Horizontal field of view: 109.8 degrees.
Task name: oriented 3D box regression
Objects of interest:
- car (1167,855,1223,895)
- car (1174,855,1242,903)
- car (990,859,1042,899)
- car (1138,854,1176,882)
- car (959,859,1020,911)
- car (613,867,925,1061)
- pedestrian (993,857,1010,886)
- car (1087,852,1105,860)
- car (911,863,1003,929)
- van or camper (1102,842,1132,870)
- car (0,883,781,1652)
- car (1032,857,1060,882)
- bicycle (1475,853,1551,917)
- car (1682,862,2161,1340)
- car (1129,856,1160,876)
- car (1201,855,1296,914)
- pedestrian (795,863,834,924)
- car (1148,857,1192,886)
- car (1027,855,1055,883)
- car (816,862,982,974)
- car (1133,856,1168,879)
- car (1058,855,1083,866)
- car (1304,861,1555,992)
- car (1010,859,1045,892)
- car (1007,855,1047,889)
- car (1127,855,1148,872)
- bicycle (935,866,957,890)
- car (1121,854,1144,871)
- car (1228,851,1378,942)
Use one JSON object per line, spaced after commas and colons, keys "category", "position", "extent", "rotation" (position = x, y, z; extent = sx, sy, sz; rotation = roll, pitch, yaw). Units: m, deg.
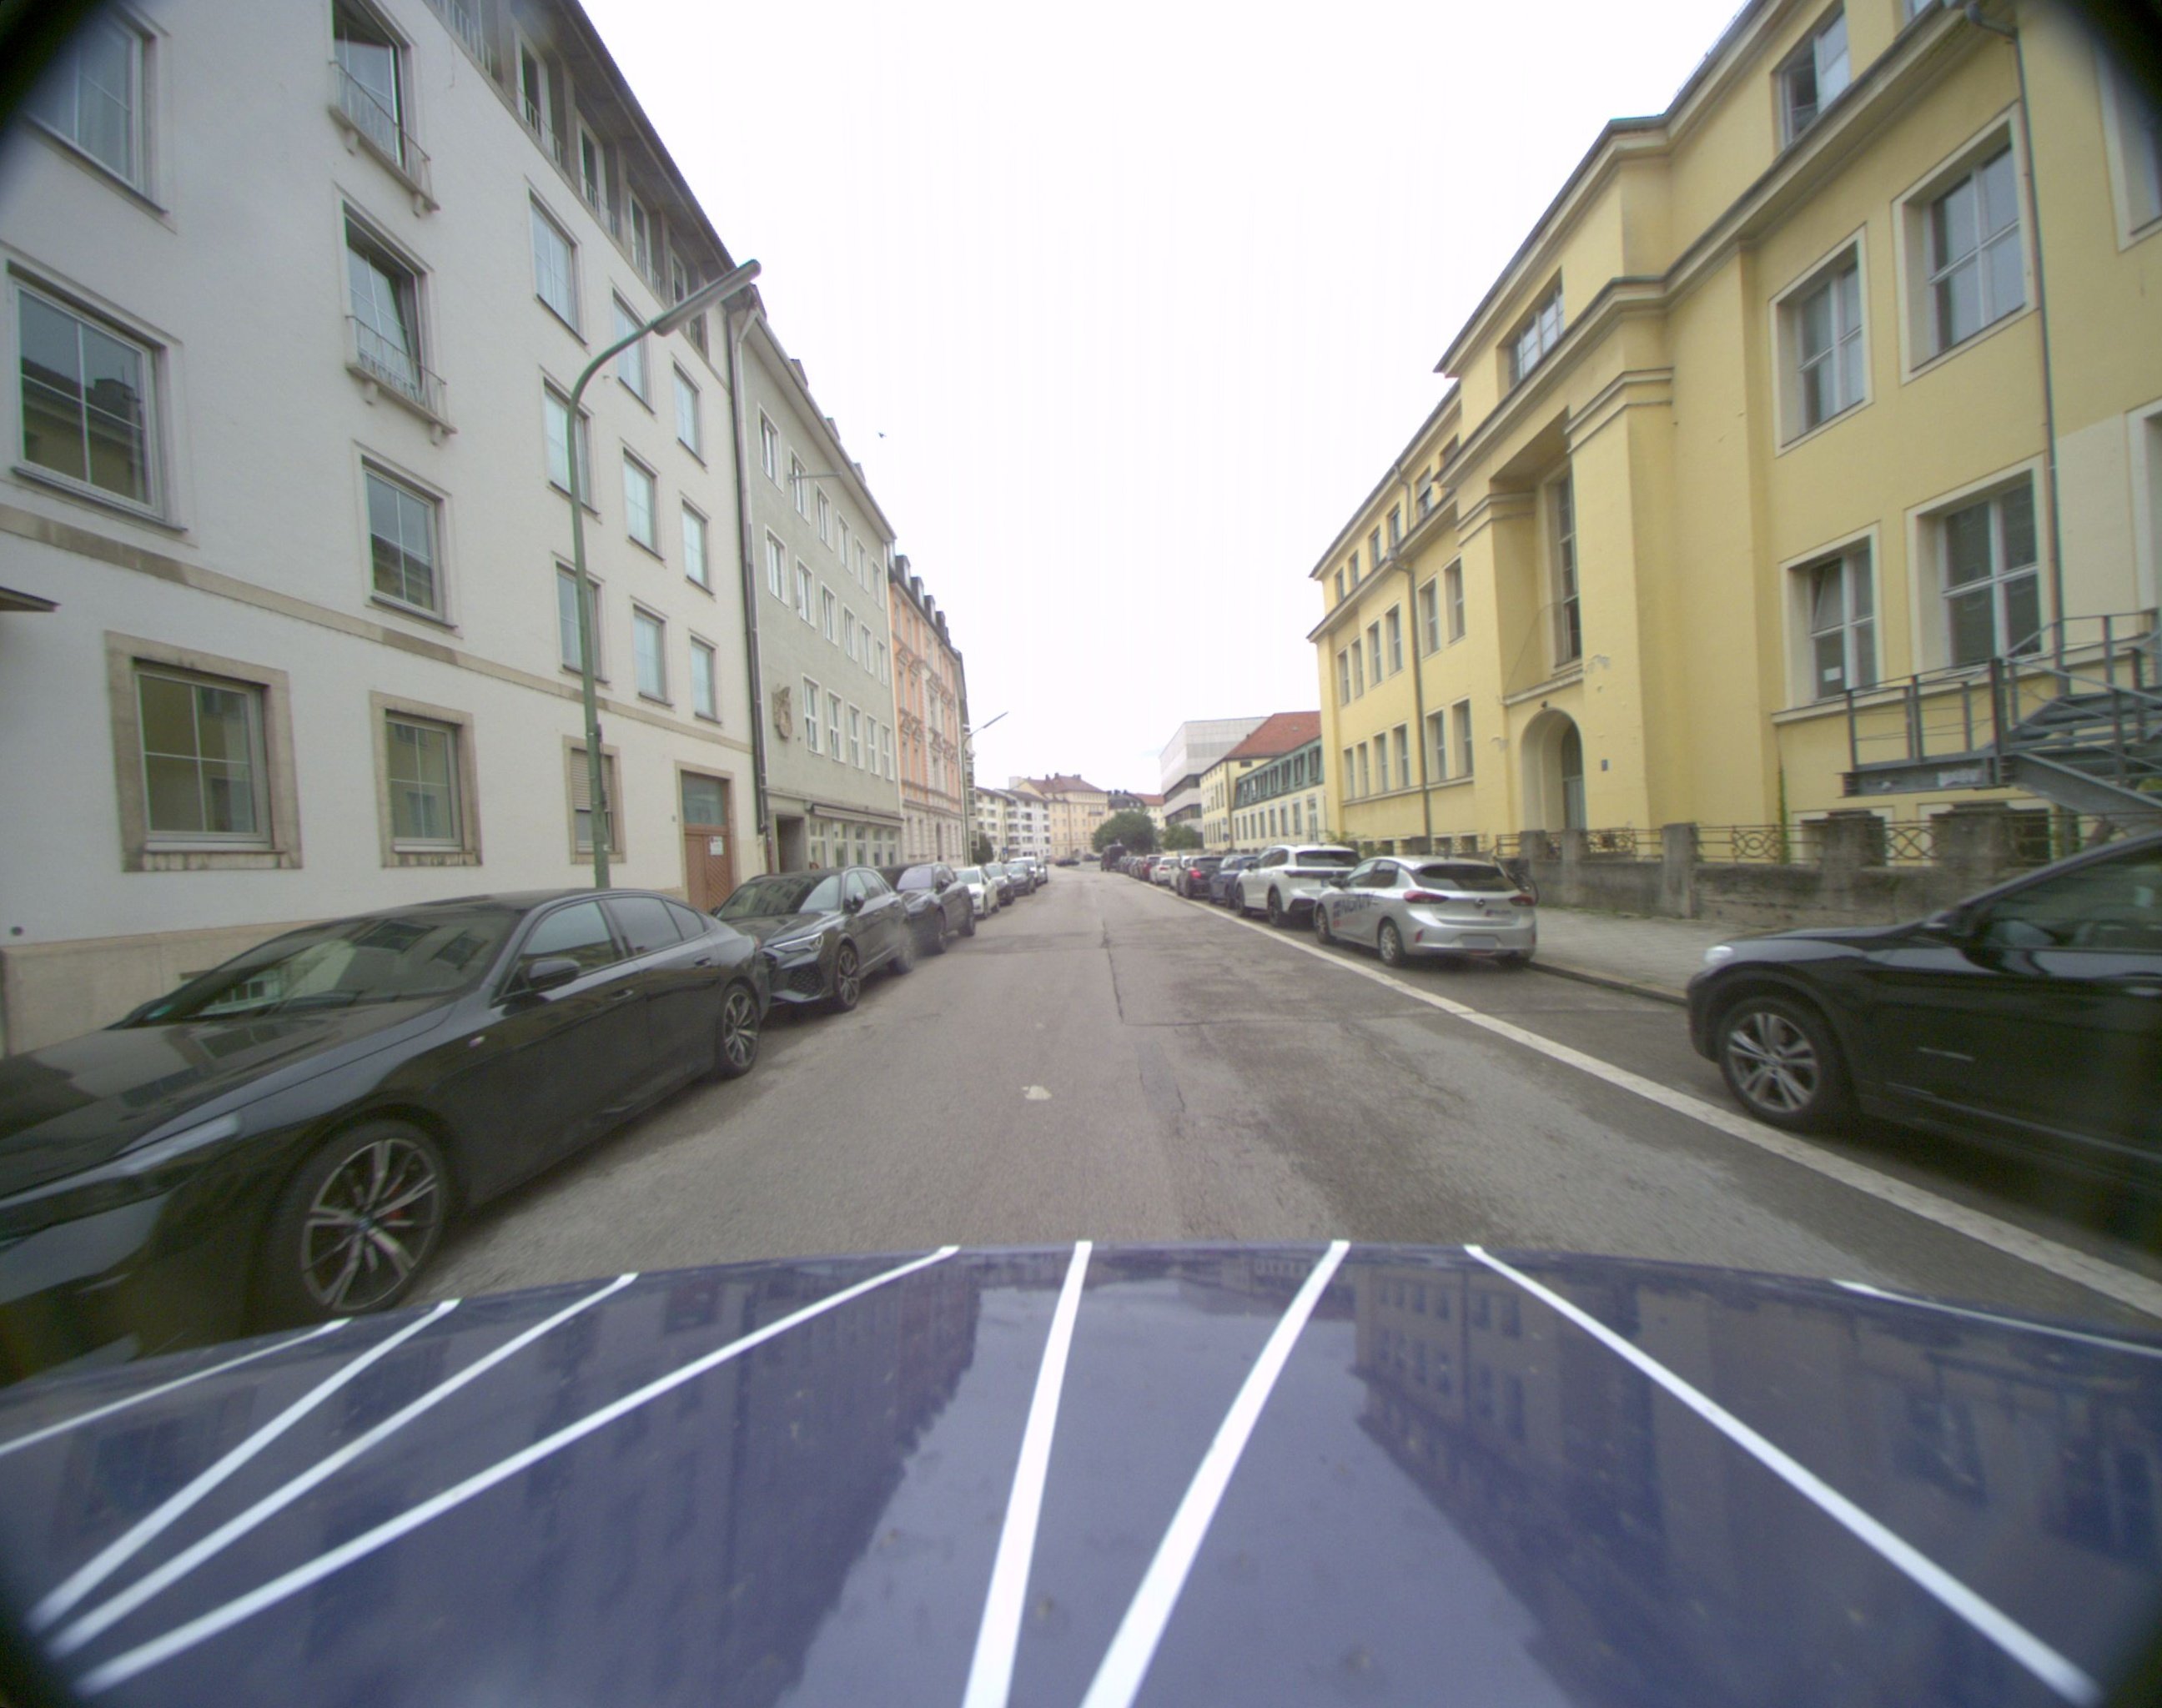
{"category": "car", "position": [4.662, 0.815, 31.627], "extent": [1.727, 1.518, 4.087], "rotation": [1, 0, 0]}
{"category": "car", "position": [4.287, 0.809, 26.227], "extent": [1.684, 1.487, 3.985], "rotation": [0, 0, 0]}
{"category": "car", "position": [-2.865, 1.071, 34.117], "extent": [1.696, 1.442, 4.083], "rotation": [-5, 0, 2]}
{"category": "car", "position": [4.391, 0.785, 44.483], "extent": [1.679, 1.557, 3.996], "rotation": [0, 0, -2]}
{"category": "car", "position": [-3.265, 1.062, 27.788], "extent": [1.697, 1.574, 4.082], "rotation": [-5, 0, -2]}
{"category": "car", "position": [-3.331, 1.063, 9.172], "extent": [1.783, 1.575, 4.271], "rotation": [-5, 0, 1]}
{"category": "pedestrian", "position": [-4.720, 1.054, 45.032], "extent": [0.863, 1.652, 0.647], "rotation": [-3, 0, 0]}
{"category": "car", "position": [3.337, 0.459, 172.244], "extent": [3.997, 1.849, 2.000], "rotation": [-2, 1, 1]}
{"category": "car", "position": [-3.345, 1.093, 21.315], "extent": [1.696, 1.455, 4.083], "rotation": [-5, 0, 1]}
{"category": "van or camper", "position": [3.788, 0.215, 80.650], "extent": [2.142, 2.791, 5.569], "rotation": [-2, 0, -7]}
{"category": "car", "position": [-3.451, 1.098, 3.869], "extent": [1.860, 1.535, 4.815], "rotation": [-5, 0, -1]}
{"category": "car", "position": [-2.519, 1.077, 55.331], "extent": [1.745, 1.578, 4.200], "rotation": [-5, 0, -1]}
{"category": "bicycle", "position": [8.675, 0.593, 15.322], "extent": [0.578, 1.182, 1.562], "rotation": [-6, 0, 1]}
{"category": "car", "position": [4.417, 0.821, 2.303], "extent": [1.786, 1.529, 4.194], "rotation": [0, 0, -2]}
{"category": "car", "position": [4.528, 0.817, 54.569], "extent": [1.798, 1.396, 4.127], "rotation": [0, 0, -2]}
{"category": "car", "position": [4.568, 0.774, 21.286], "extent": [1.684, 1.496, 3.973], "rotation": [0, 0, -2]}
{"category": "pedestrian", "position": [-7.408, 1.082, 21.181], "extent": [0.736, 1.616, 0.828], "rotation": [-2, 1, 1]}
{"category": "car", "position": [4.511, 0.851, 38.979], "extent": [1.679, 1.390, 3.996], "rotation": [0, 0, -2]}
{"category": "car", "position": [-2.603, 0.958, 50.292], "extent": [1.608, 1.632, 3.630], "rotation": [-4, 0, -1]}
{"category": "car", "position": [-3.185, 1.045, 14.237], "extent": [1.783, 1.575, 4.330], "rotation": [-5, 0, 2]}
{"category": "car", "position": [4.450, 0.840, 49.351], "extent": [1.679, 1.396, 3.989], "rotation": [0, 0, -4]}
{"category": "car", "position": [-1.897, 1.135, 136.082], "extent": [4.248, 1.849, 1.999], "rotation": [-2, 0, -5]}
{"category": "car", "position": [4.581, 0.852, 10.690], "extent": [1.684, 1.417, 3.894], "rotation": [1, 0, -1]}
{"category": "car", "position": [-2.729, 1.074, 39.554], "extent": [1.603, 1.442, 4.300], "rotation": [-5, 0, -3]}
{"category": "car", "position": [-3.162, 1.013, 45.255], "extent": [1.845, 1.775, 4.895], "rotation": [-6, 0, 1]}
{"category": "car", "position": [4.794, 0.807, 65.008], "extent": [1.699, 1.396, 4.001], "rotation": [0, 0, 2]}
{"category": "bicycle", "position": [-7.063, 1.258, 39.841], "extent": [0.652, 1.176, 2.096], "rotation": [-2, -1, 3]}
{"category": "car", "position": [4.698, 0.761, 69.801], "extent": [1.700, 1.553, 3.867], "rotation": [0, 0, -2]}
{"category": "car", "position": [4.477, 0.772, 16.026], "extent": [1.684, 1.624, 4.356], "rotation": [1, 0, -3]}
